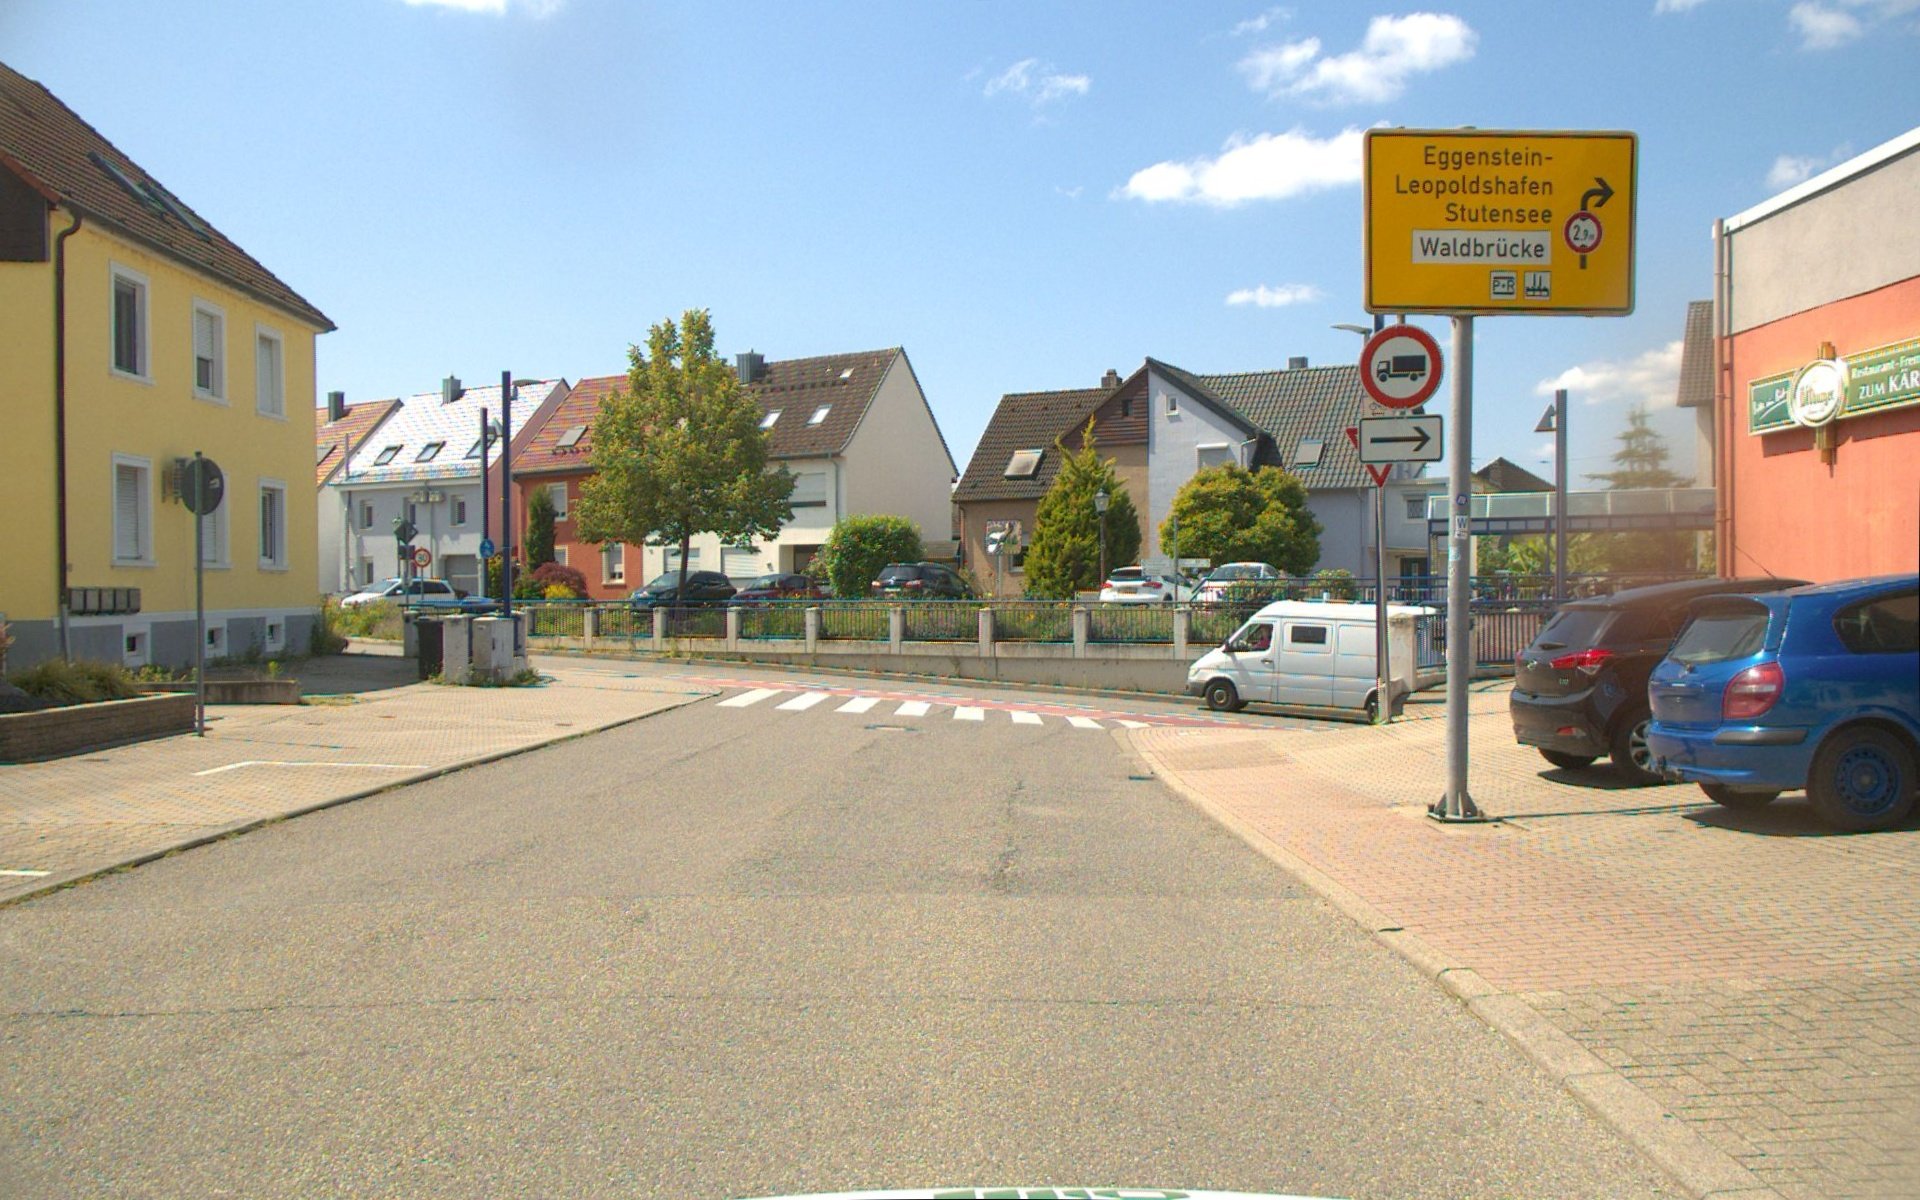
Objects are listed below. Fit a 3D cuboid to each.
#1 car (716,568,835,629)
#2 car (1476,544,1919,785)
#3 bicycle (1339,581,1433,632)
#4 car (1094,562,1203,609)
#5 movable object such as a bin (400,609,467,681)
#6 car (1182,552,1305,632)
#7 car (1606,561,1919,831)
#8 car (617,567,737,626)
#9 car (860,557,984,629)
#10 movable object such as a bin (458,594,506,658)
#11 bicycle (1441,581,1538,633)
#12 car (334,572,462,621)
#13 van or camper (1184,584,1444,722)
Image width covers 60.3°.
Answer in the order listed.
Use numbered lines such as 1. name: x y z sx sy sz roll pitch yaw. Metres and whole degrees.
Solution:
1. car: -5.450 -0.013 49.209 1.831 1.614 3.606 4 0 26
2. car: 6.527 0.468 13.672 3.819 1.515 1.809 -6 -1 -3
3. bicycle: 9.792 0.148 38.028 2.071 1.145 0.333 0 0 20
4. car: 5.037 -0.373 43.821 1.789 1.037 3.456 4 0 26
5. movable object such as a bin: -9.288 0.780 29.203 0.867 1.247 0.902 0 0 2
6. car: 7.368 -0.172 42.684 1.955 1.828 4.192 4 0 26
7. car: 6.576 0.461 10.406 4.236 1.464 1.779 -4 -2 -2
8. car: -8.723 -0.096 51.238 1.831 1.614 3.606 4 0 26
9. car: -1.031 -0.164 47.312 1.831 1.828 3.996 4 0 26
10. movable object such as a bin: -9.404 0.508 32.568 0.825 1.235 1.272 0 0 -13
11. bicycle: 11.917 0.154 37.256 2.071 1.145 0.392 0 0 20
12. car: -20.385 -0.102 60.150 1.711 1.514 4.245 4 0 32
13. van or camper: 7.783 1.139 36.334 5.265 2.676 2.004 2 -2 20
